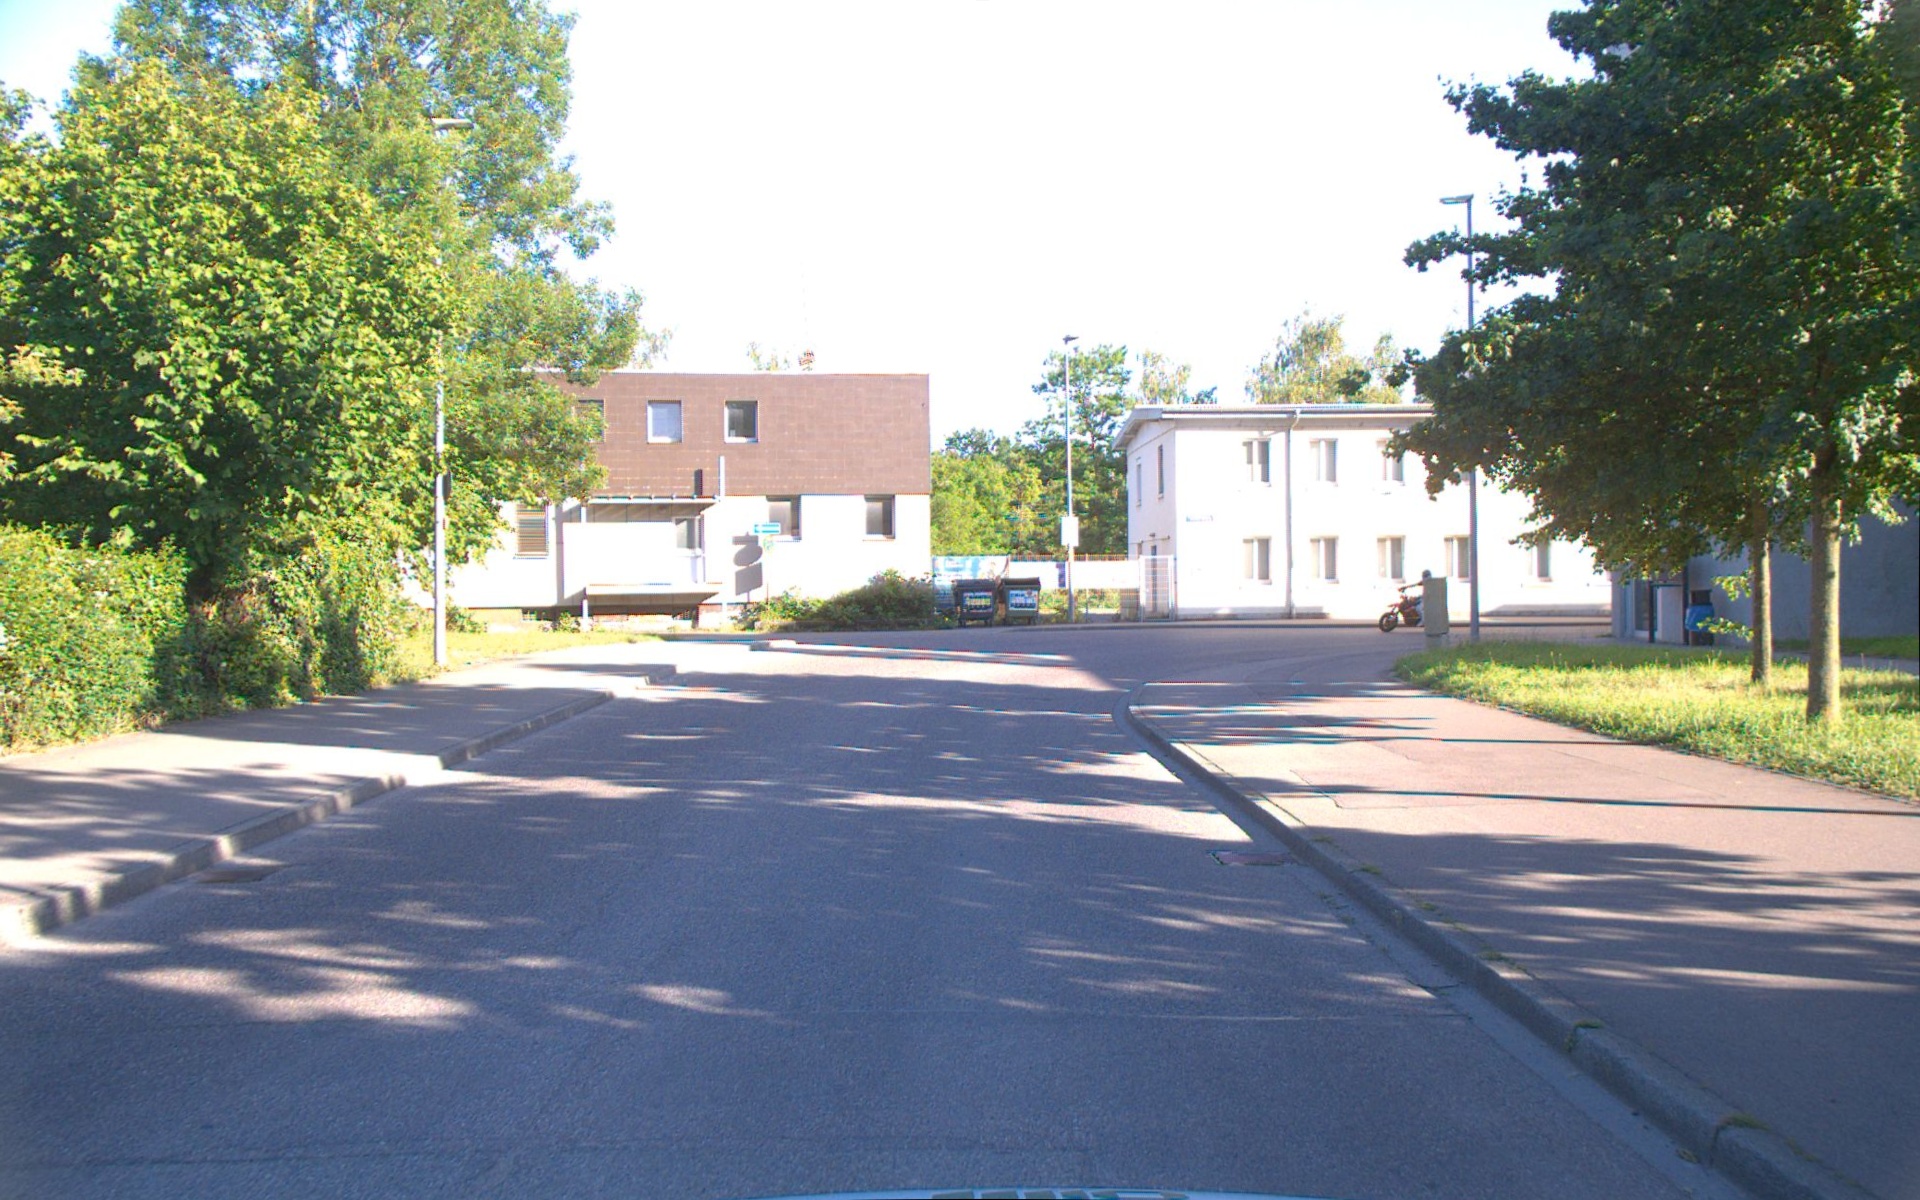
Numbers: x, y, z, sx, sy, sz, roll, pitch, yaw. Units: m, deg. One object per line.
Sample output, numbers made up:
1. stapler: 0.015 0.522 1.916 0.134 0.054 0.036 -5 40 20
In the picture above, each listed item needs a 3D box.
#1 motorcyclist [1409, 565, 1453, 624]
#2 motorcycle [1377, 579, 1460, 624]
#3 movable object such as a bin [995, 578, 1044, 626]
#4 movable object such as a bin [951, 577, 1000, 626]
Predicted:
1. motorcyclist: 13.017 -0.156 45.732 0.878 1.580 1.030 -1 2 -5
2. motorcycle: 12.658 0.025 45.694 1.991 1.206 0.961 0 1 -8
3. movable object such as a bin: 1.809 0.069 50.613 1.339 1.443 1.064 1 0 -8
4. movable object such as a bin: 0.452 0.043 50.246 1.339 1.443 1.064 1 0 -8
